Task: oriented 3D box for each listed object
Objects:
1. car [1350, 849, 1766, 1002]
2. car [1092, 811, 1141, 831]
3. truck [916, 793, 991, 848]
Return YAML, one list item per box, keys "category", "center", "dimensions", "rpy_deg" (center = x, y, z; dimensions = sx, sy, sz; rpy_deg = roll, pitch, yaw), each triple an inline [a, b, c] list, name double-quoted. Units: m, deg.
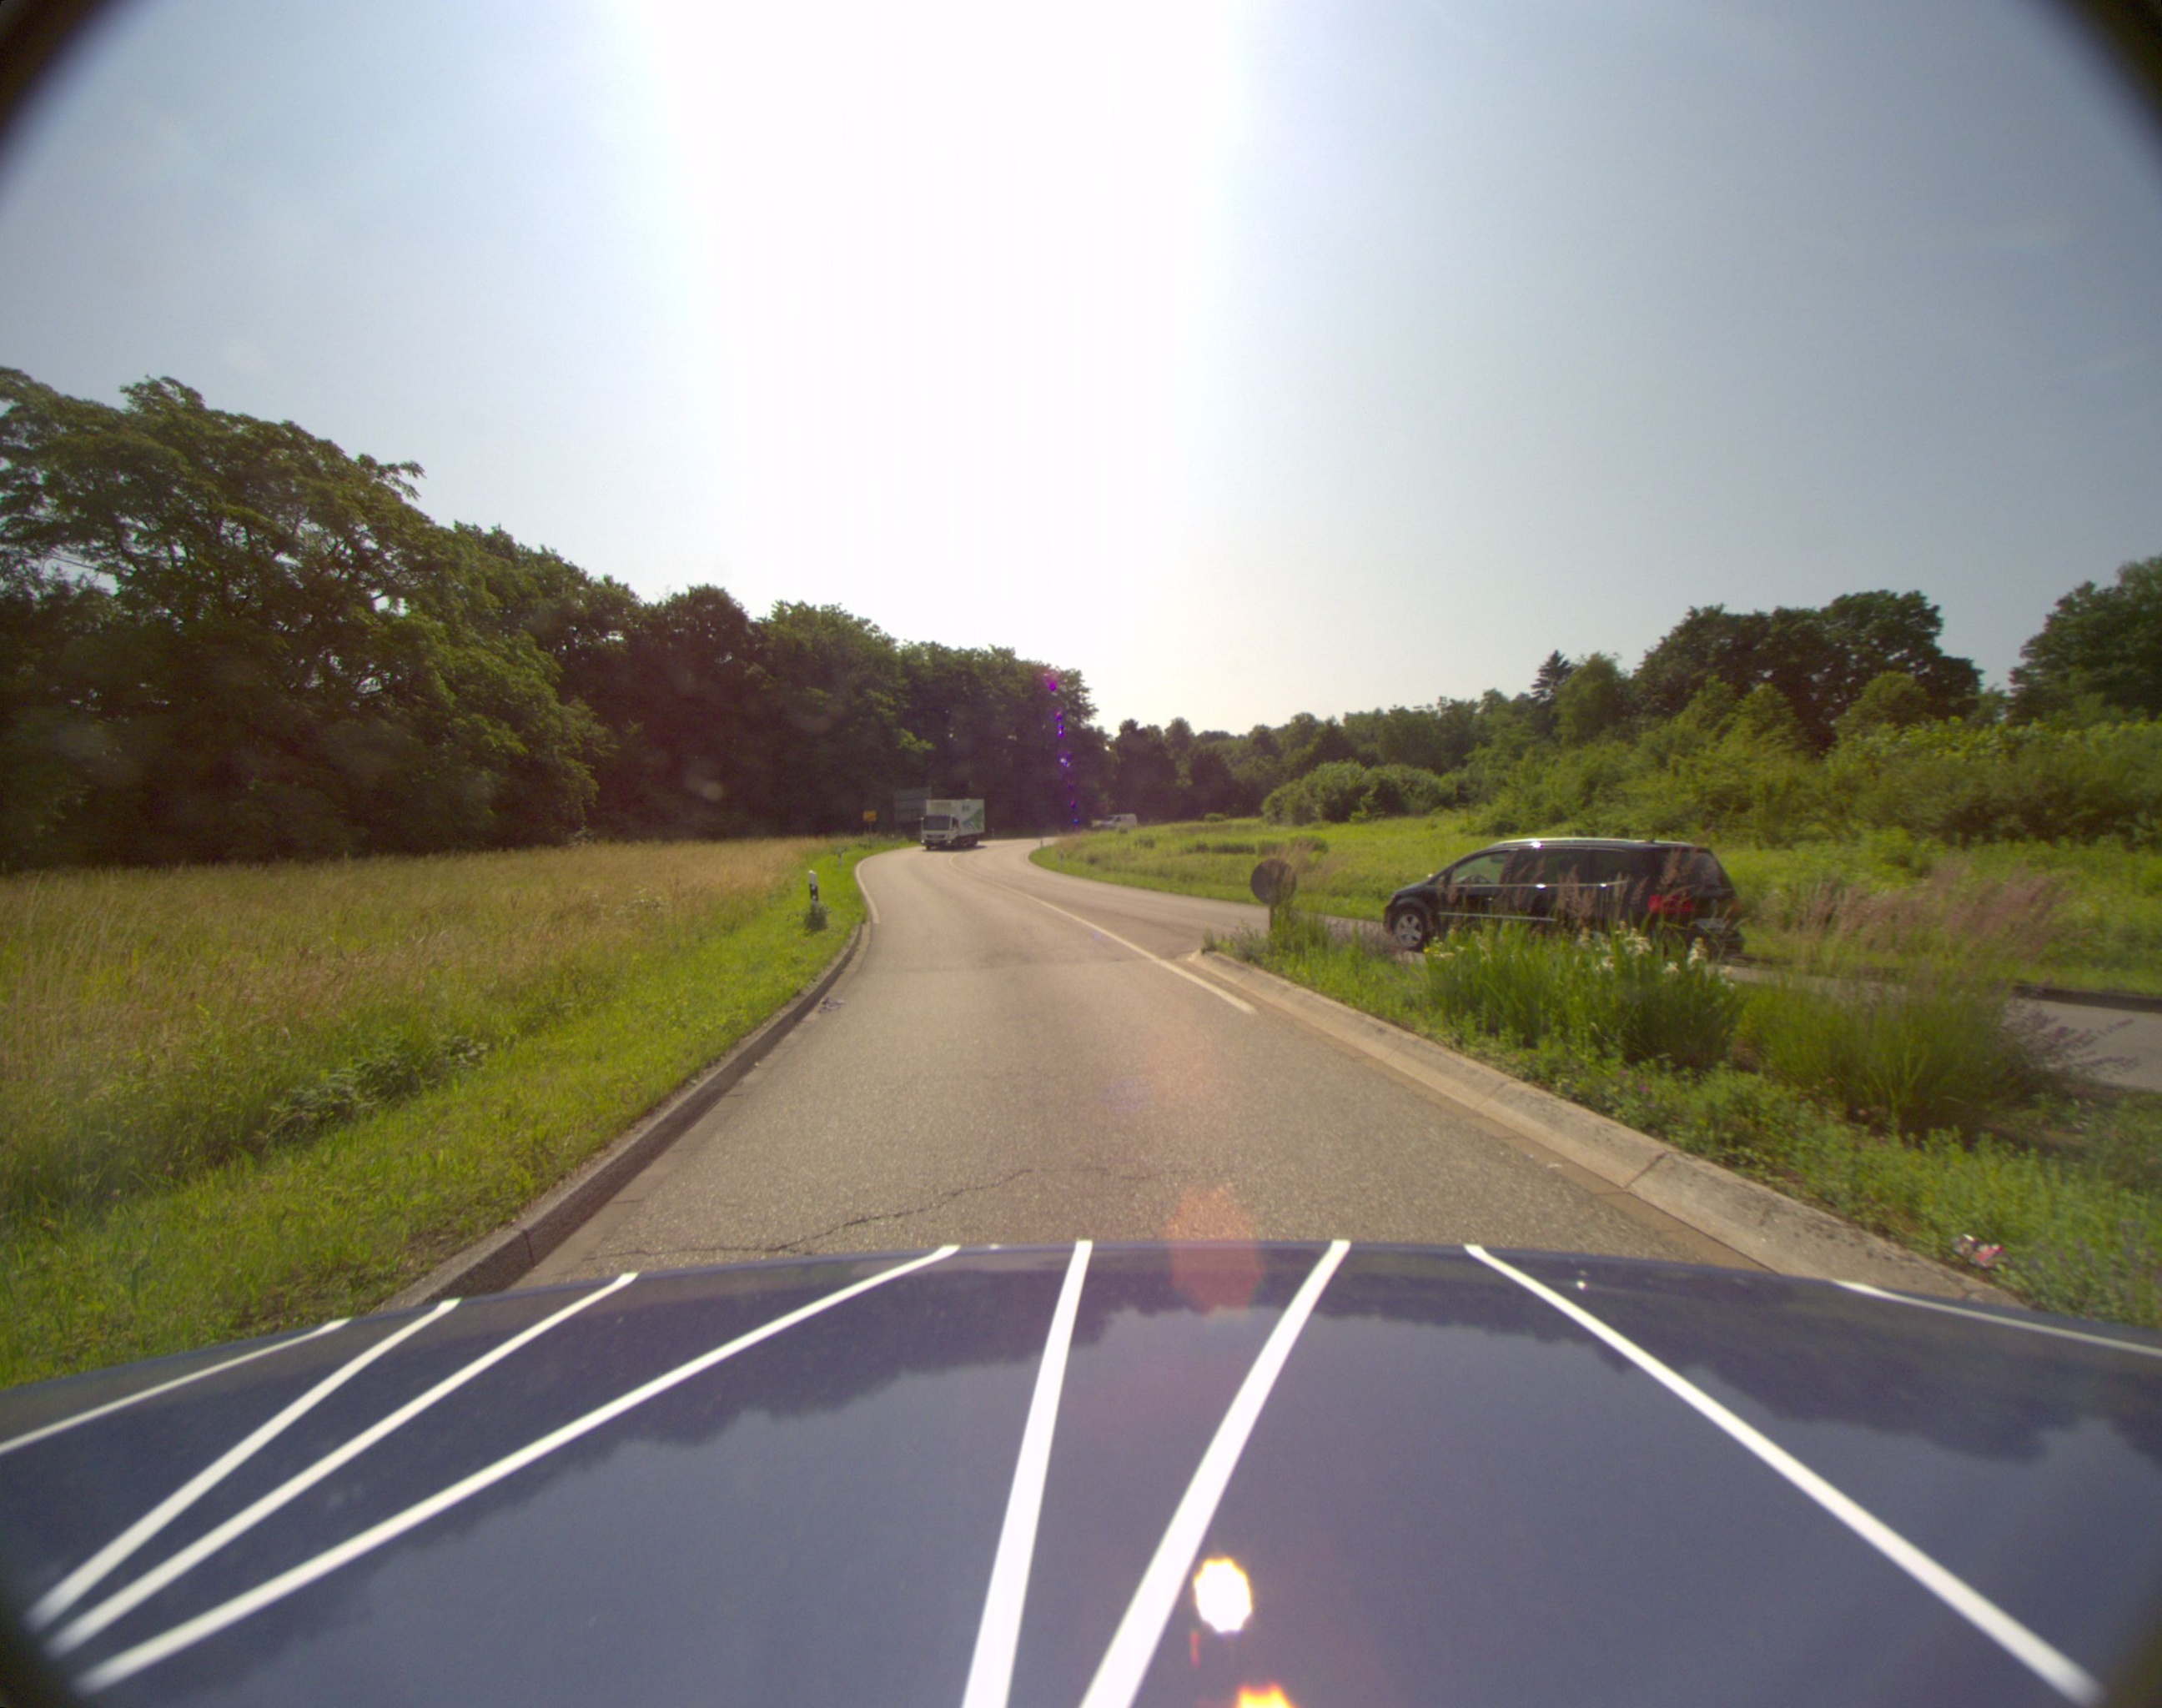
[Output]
- category: "car"
  center: [6.024, 0.743, 10.241]
  dimensions: [1.916, 1.586, 4.363]
  rpy_deg: [0, 0, -28]
- category: "car"
  center: [3.970, -3.623, 83.830]
  dimensions: [5.613, 2.002, 1.994]
  rpy_deg: [-3, 2, -42]
- category: "truck"
  center: [-9.382, -2.561, 57.141]
  dimensions: [2.896, 3.809, 9.023]
  rpy_deg: [0, 4, 8]
